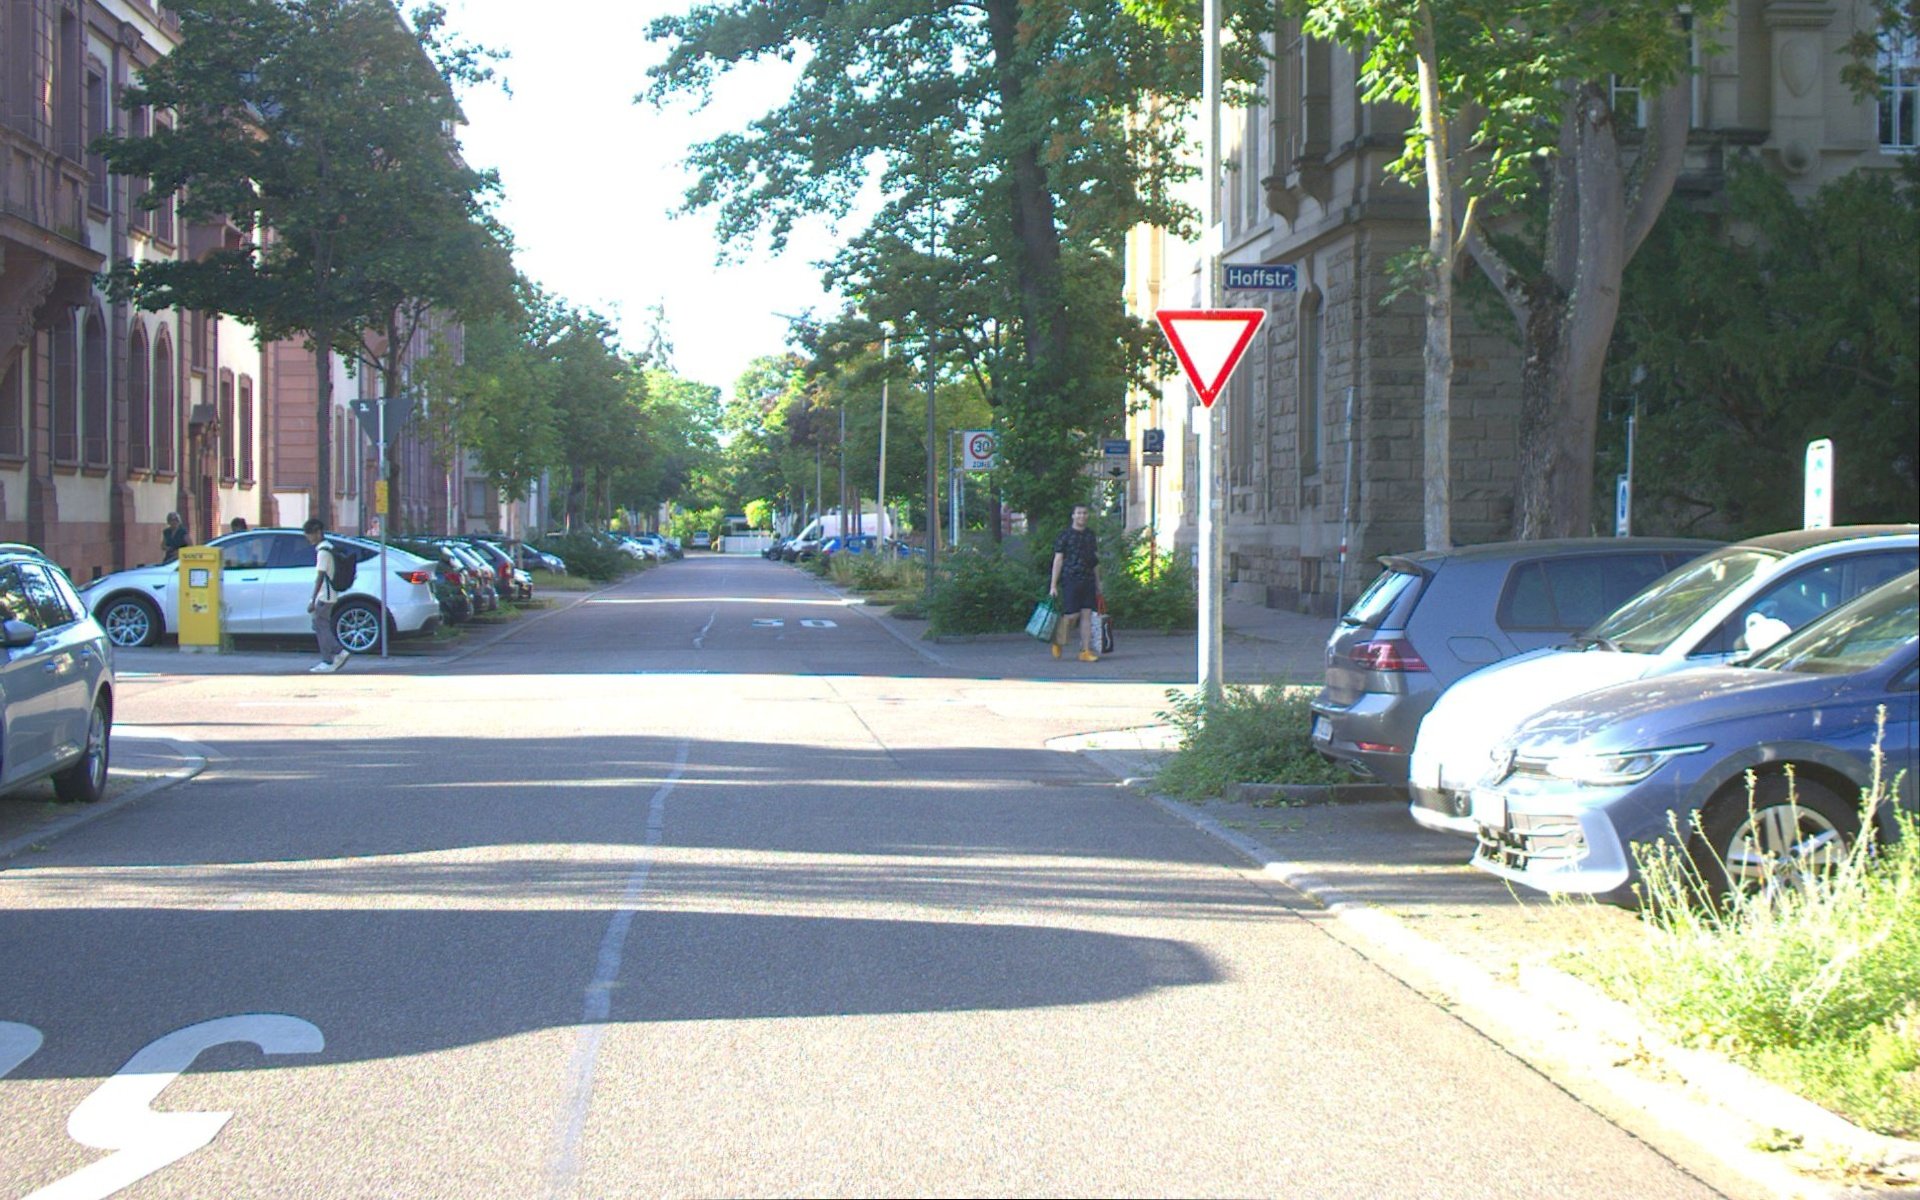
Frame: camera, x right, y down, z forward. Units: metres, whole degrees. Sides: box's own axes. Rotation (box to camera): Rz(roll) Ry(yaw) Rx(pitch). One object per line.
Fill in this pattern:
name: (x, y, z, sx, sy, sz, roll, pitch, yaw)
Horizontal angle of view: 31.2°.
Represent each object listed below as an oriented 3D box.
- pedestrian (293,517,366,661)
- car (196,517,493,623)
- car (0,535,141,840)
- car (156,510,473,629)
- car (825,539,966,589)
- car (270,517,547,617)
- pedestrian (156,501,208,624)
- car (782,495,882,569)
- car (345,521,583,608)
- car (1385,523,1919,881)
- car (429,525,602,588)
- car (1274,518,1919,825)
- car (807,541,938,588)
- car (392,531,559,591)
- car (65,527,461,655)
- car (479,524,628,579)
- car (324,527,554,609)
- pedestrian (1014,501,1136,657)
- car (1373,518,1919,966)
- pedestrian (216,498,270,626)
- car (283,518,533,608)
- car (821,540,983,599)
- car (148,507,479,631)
pedestrian: (-7.066, -0.122, 38.552, 0.784, 1.601, 0.721, 0, 0, -9)
car: (-9.720, -0.476, 54.585, 4.482, 1.602, 1.842, 1, 1, -5)
car: (-5.703, 0.399, 18.360, 1.781, 1.500, 4.553, 1, 1, -3)
car: (-9.570, -0.465, 51.228, 4.482, 1.711, 1.842, 0, 1, -5)
car: (-2.162, -1.209, 115.244, 4.582, 1.602, 1.842, 1, 1, -5)
car: (-9.233, -0.557, 57.857, 4.482, 1.602, 1.842, 1, 1, -5)
pedestrian: (-12.489, -0.597, 55.225, 0.718, 1.955, 0.787, 0, 0, -6)
car: (-6.370, -3.389, 170.803, 4.885, 3.605, 1.842, 1, 1, -4)
car: (-9.588, -0.696, 66.730, 4.482, 1.602, 1.842, 1, 1, -5)
car: (4.005, 0.427, 15.484, 3.954, 1.511, 1.675, 0, 1, 0)
car: (-11.776, -1.160, 91.245, 4.482, 1.602, 1.842, 1, 1, -5)
car: (3.742, 0.371, 18.049, 3.954, 1.511, 1.874, 0, -1, -2)
car: (-3.157, -1.287, 123.492, 4.582, 1.602, 1.842, 1, 1, -5)
car: (-13.427, -1.091, 95.490, 4.482, 1.602, 1.842, 1, 1, -5)
car: (-8.967, -0.127, 44.548, 4.841, 1.588, 1.842, 0, 1, -5)
car: (-12.449, -1.492, 105.497, 4.482, 1.602, 1.842, 1, 1, -5)
car: (-10.507, -0.653, 69.575, 4.482, 1.602, 1.842, 1, 1, -5)
pedestrian: (1.391, -0.261, 41.512, 1.060, 1.851, 1.002, 0, 1, -35)
car: (3.990, 0.484, 13.016, 4.490, 1.544, 1.892, 0, 1, -6)
pedestrian: (-11.039, -0.581, 52.939, 0.784, 1.955, 0.721, 0, 0, -11)
car: (-10.265, -0.703, 64.180, 4.482, 1.602, 1.842, 1, 1, -5)
car: (-1.670, -0.875, 97.813, 4.482, 1.602, 1.842, 1, 1, -5)
car: (-9.174, -0.451, 49.080, 4.482, 1.711, 1.842, 0, 1, -5)
